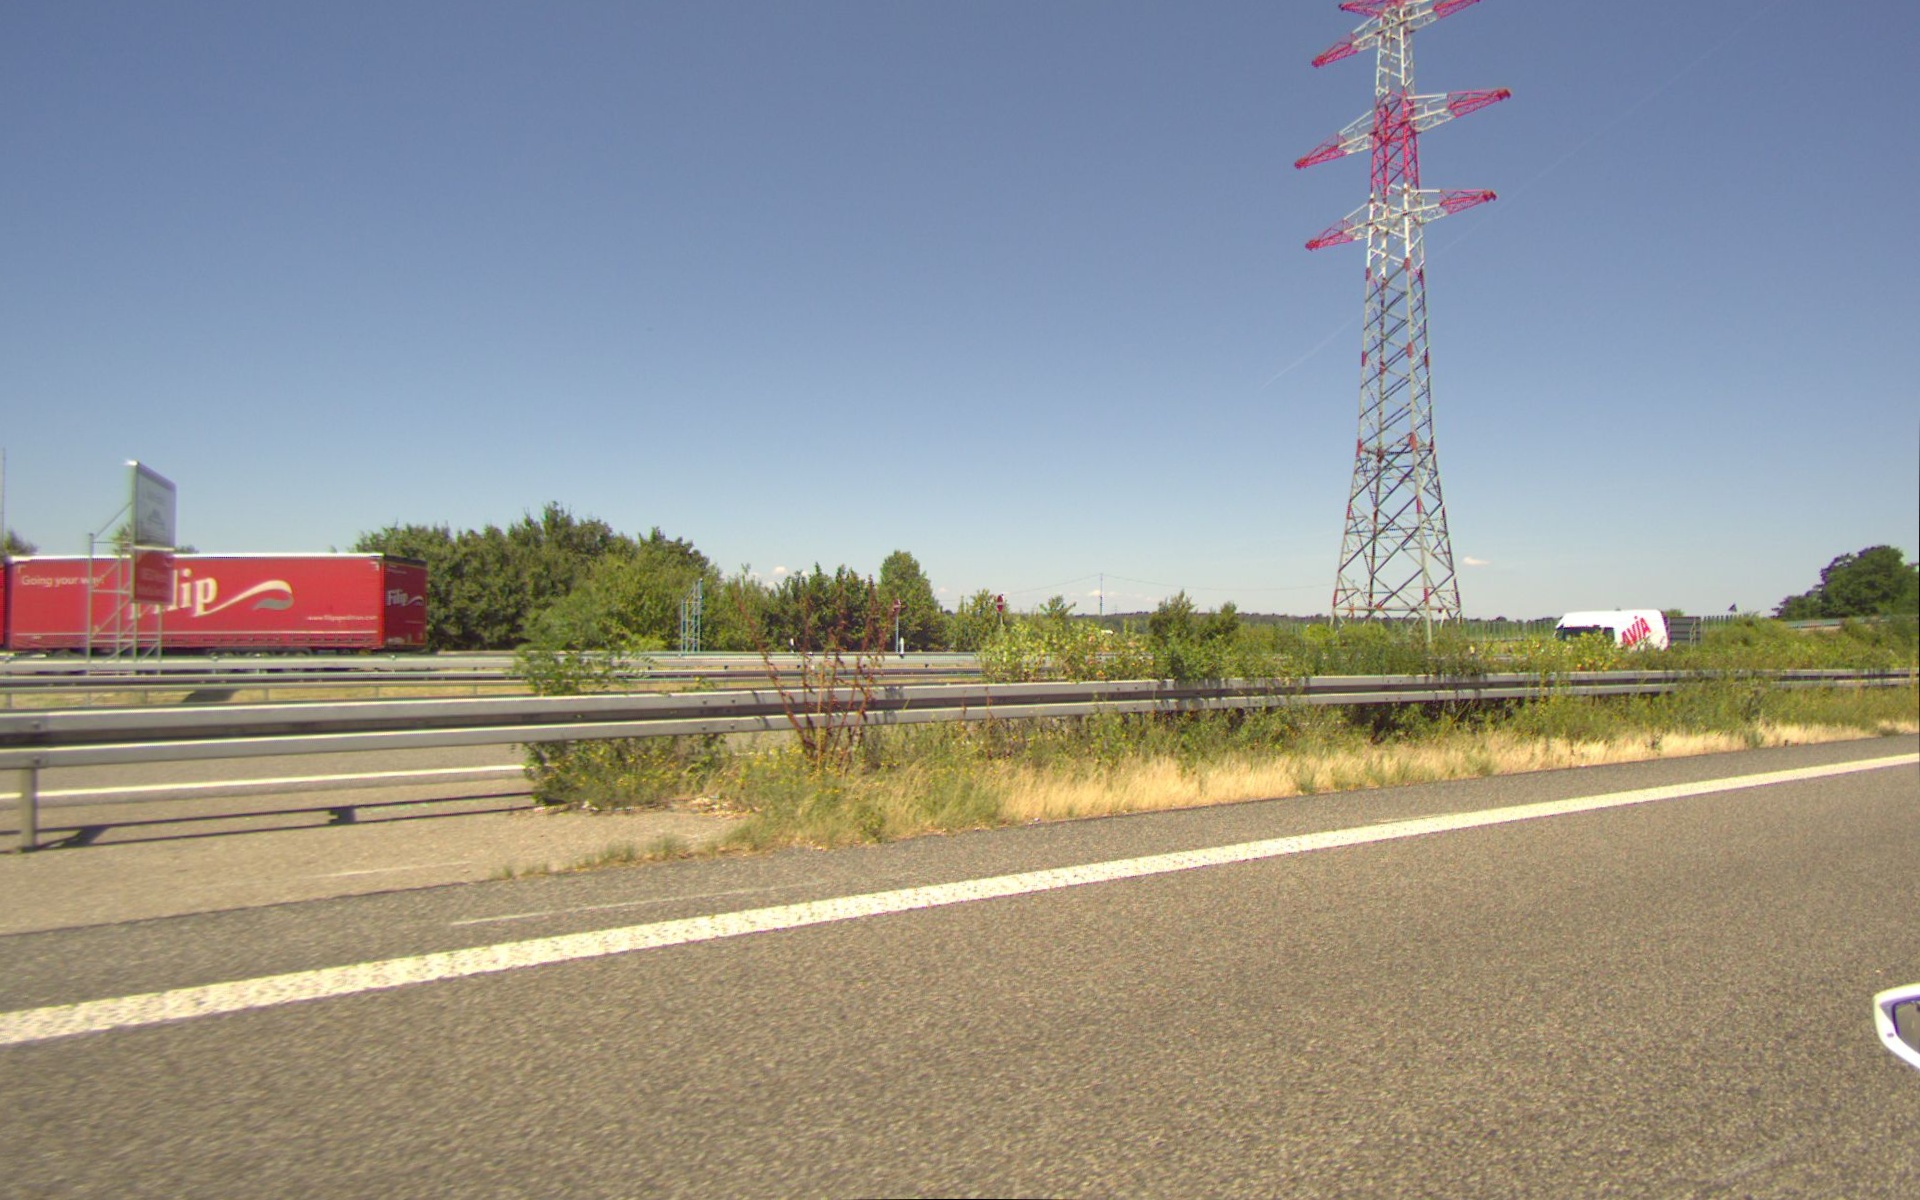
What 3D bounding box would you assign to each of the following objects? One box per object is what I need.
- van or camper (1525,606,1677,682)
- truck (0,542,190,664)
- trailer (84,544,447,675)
[{"bbox_3d":[23.722,1.590,37.083,6.314,2.558,2.049,2,0,-30],"label":"van or camper"},{"bbox_3d":[-32.416,0.065,36.527,6.512,4.103,3.129,2,1,4],"label":"truck"},{"bbox_3d":[-24.663,0.298,35.987,11.086,4.109,3.132,2,1,4],"label":"trailer"}]
